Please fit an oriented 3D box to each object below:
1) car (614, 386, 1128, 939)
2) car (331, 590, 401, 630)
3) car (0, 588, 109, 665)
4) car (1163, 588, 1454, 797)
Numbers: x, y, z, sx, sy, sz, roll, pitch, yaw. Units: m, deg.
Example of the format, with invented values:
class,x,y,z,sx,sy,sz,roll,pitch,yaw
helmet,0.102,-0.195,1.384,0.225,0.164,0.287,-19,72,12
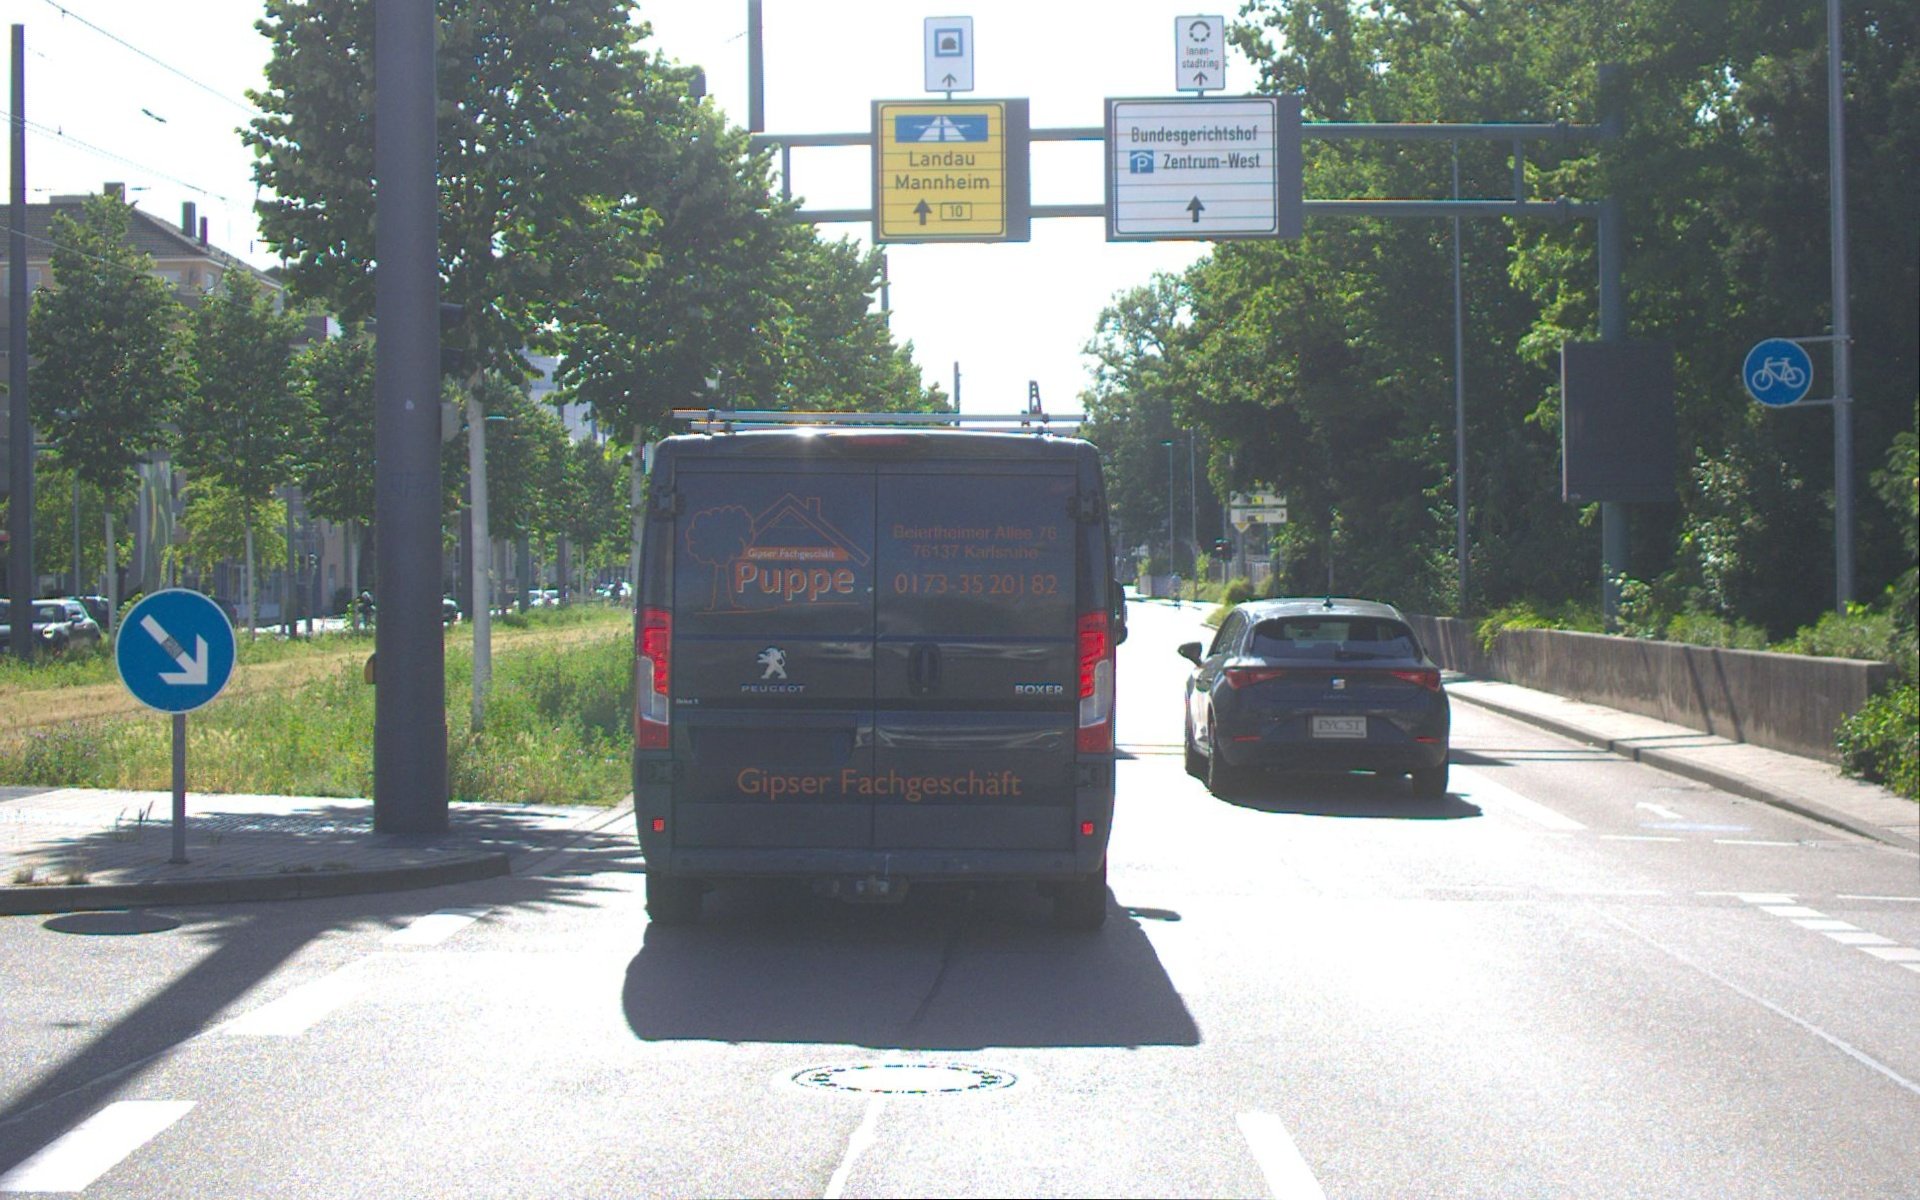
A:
class,x,y,z,sx,sy,sz,roll,pitch,yaw
car,-0.341,0.242,16.046,2.082,2.241,4.000,1,0,1
car,-24.205,0.397,140.140,1.994,1.547,4.000,1,0,2
car,-19.423,0.539,72.092,1.994,1.547,4.000,1,0,3
car,2.592,0.649,26.370,1.763,1.457,4.000,1,0,-1
